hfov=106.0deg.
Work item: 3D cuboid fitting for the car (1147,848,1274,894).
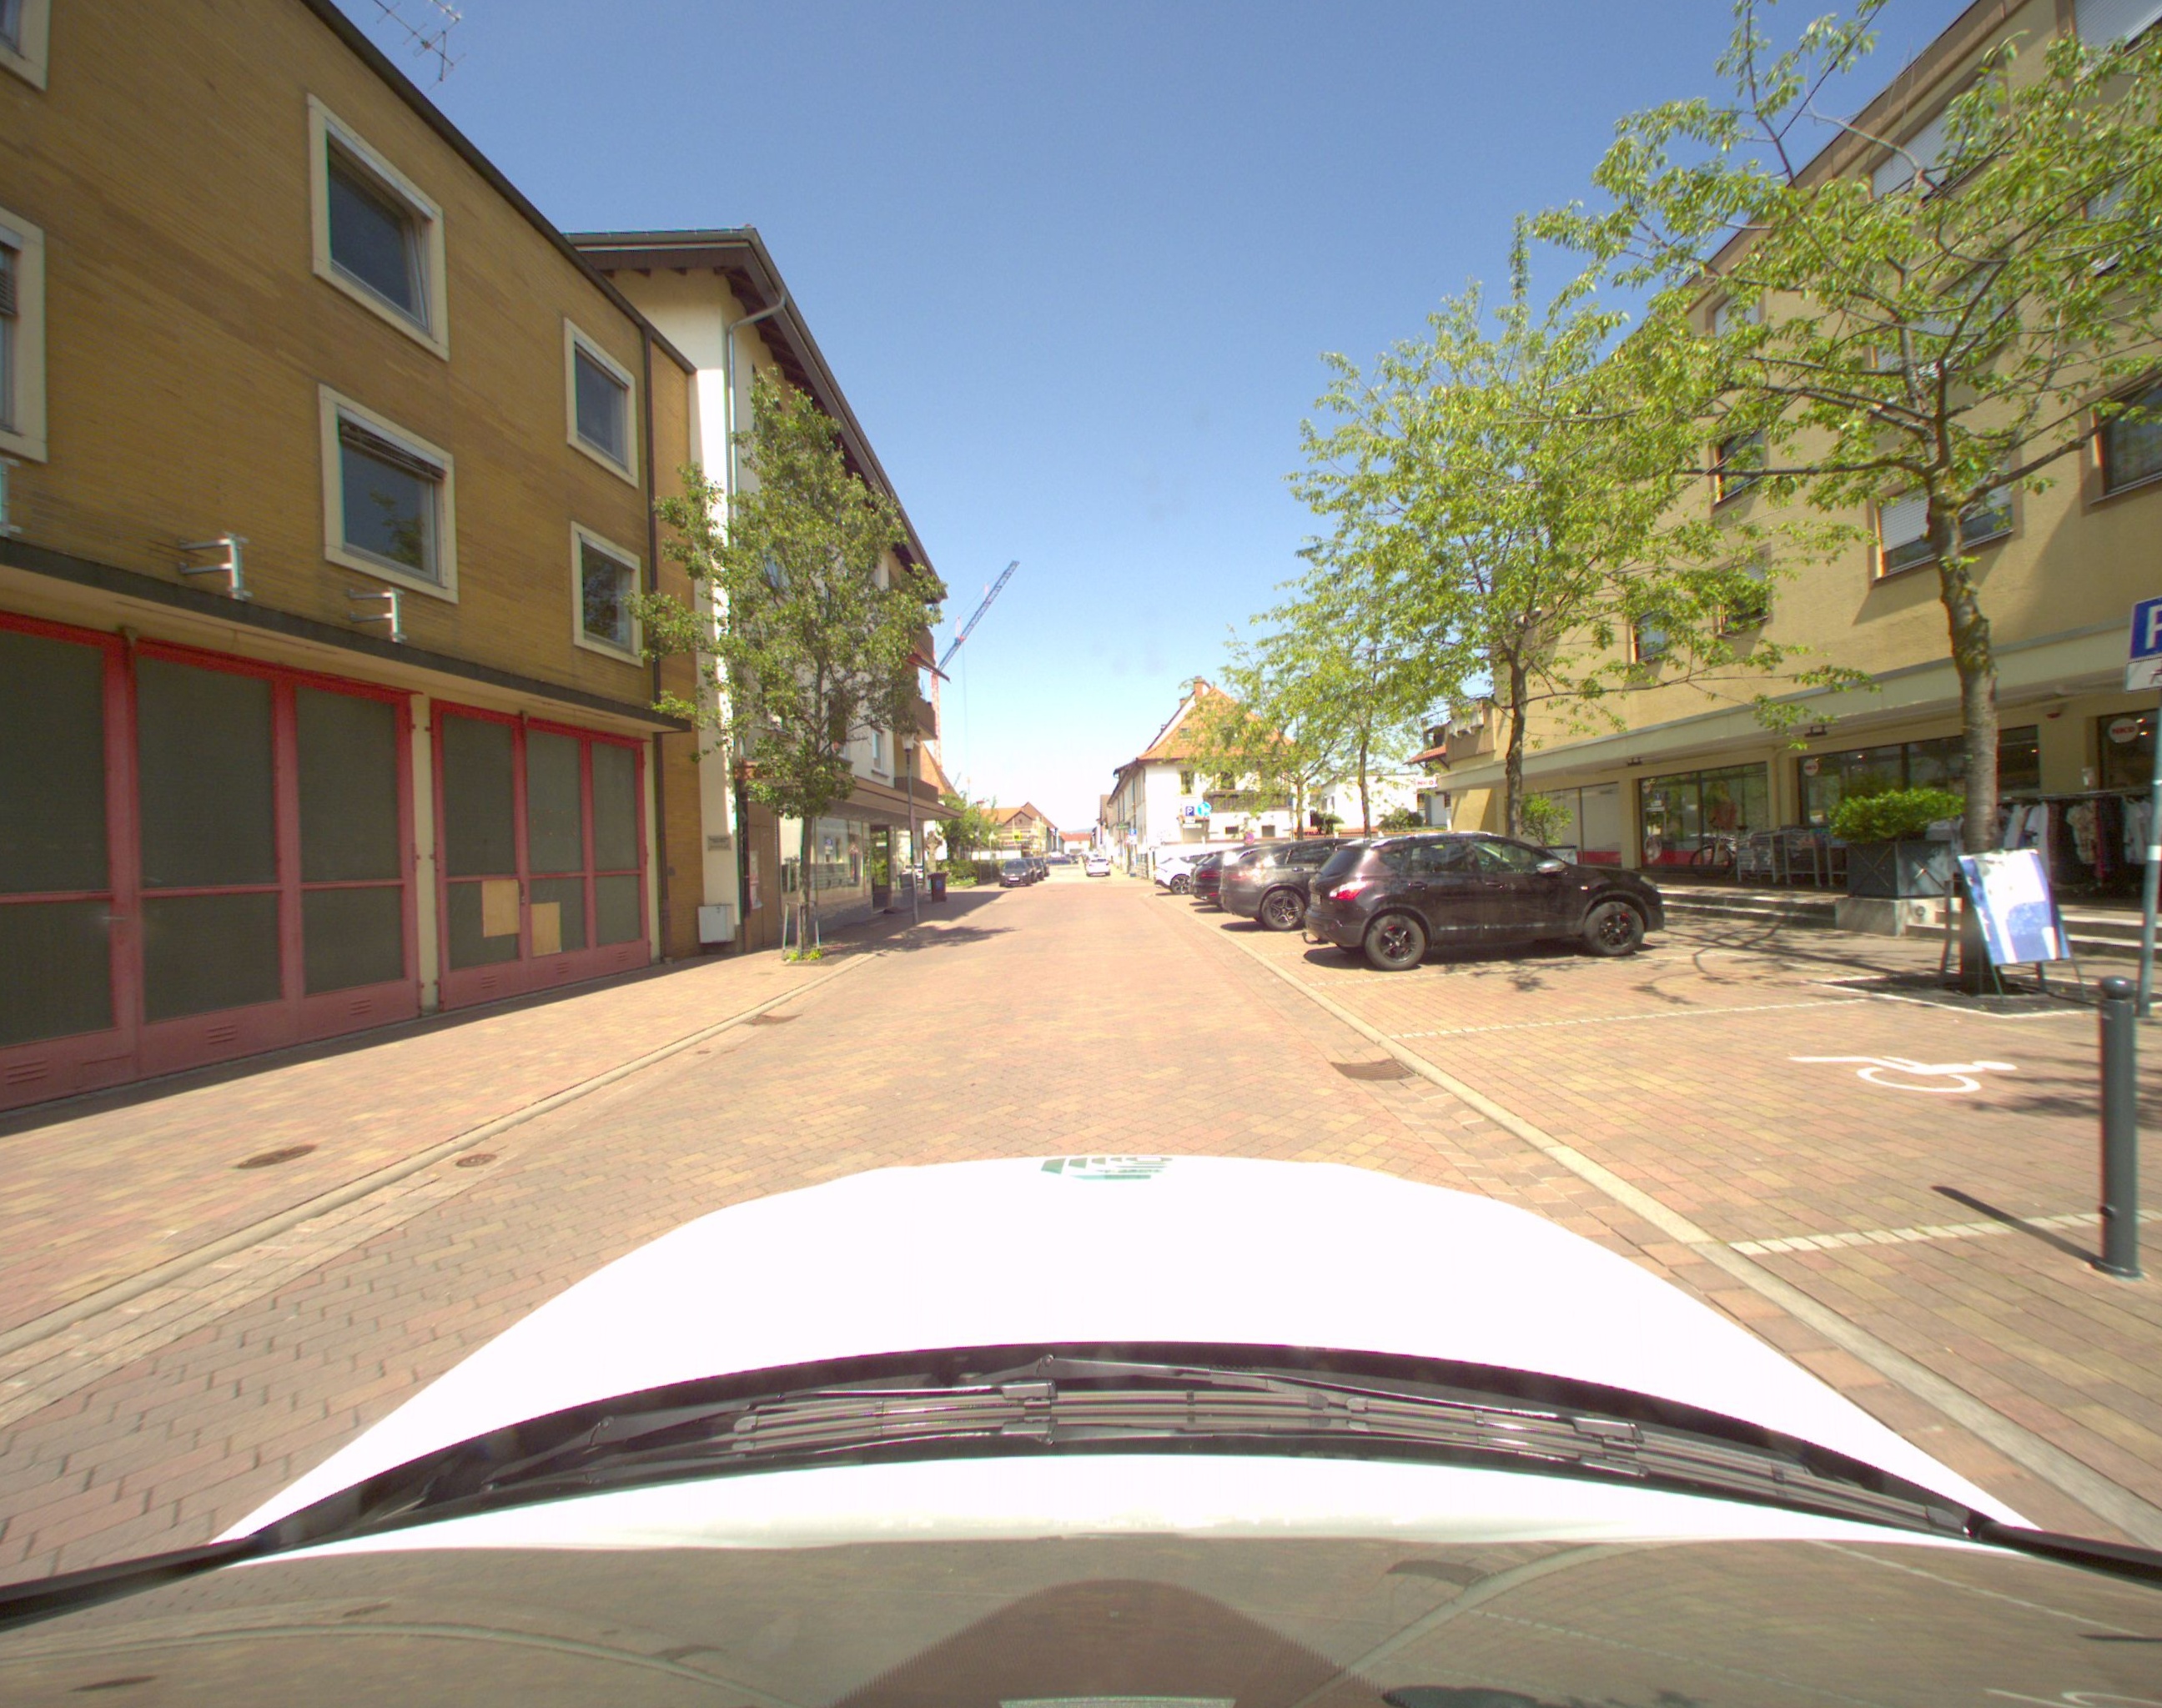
[{"bbox_3d":[4.827,0.630,30.721,4.429,1.576,1.787,-2,0,-3],"label":"car"}]

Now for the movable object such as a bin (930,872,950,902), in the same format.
[{"bbox_3d":[-5.255,1.218,30.421,0.654,1.070,0.662,-1,-1,-6],"label":"movable object such as a bin"}]

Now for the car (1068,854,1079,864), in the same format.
[{"bbox_3d":[-1.390,0.856,144.015,1.876,1.668,4.151,-2,0,-1],"label":"car"}]

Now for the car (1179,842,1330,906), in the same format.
[{"bbox_3d":[4.966,0.565,23.696,3.932,1.534,1.823,-4,0,-1],"label":"car"}]

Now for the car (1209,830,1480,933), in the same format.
[{"bbox_3d":[4.789,0.488,15.326,4.489,1.588,1.852,-3,0,3],"label":"car"}]

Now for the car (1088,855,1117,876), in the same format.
[{"bbox_3d":[1.737,0.925,64.661,1.876,1.542,4.251,-2,0,7],"label":"car"}]

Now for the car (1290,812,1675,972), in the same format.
[{"bbox_3d":[4.924,0.452,10.399,4.013,1.612,1.681,-4,-1,0],"label":"car"}]

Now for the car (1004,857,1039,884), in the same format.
[{"bbox_3d":[-3.733,1.026,51.945,1.809,1.605,4.025,-2,0,1],"label":"car"}]

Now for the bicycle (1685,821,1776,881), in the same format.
[{"bbox_3d":[12.764,-0.047,16.068,0.411,1.124,1.775,-1,-1,3],"label":"bicycle"}]

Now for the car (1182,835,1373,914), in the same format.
[{"bbox_3d":[4.875,0.485,20.656,4.267,1.681,1.999,-3,0,-2],"label":"car"}]

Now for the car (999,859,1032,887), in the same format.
[{"bbox_3d":[-3.641,1.036,45.940,1.699,1.497,3.852,-2,0,-3],"label":"car"}]

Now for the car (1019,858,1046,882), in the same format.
[{"bbox_3d":[-3.388,1.104,57.622,1.633,1.628,3.767,-2,0,-1],"label":"car"}]

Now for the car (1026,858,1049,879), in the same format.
[{"bbox_3d":[-3.625,1.158,68.399,1.821,1.630,4.214,-2,0,-2],"label":"car"}]

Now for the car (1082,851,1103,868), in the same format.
[{"bbox_3d":[1.182,0.583,84.621,1.880,1.556,3.890,-5,0,-3],"label":"car"}]
